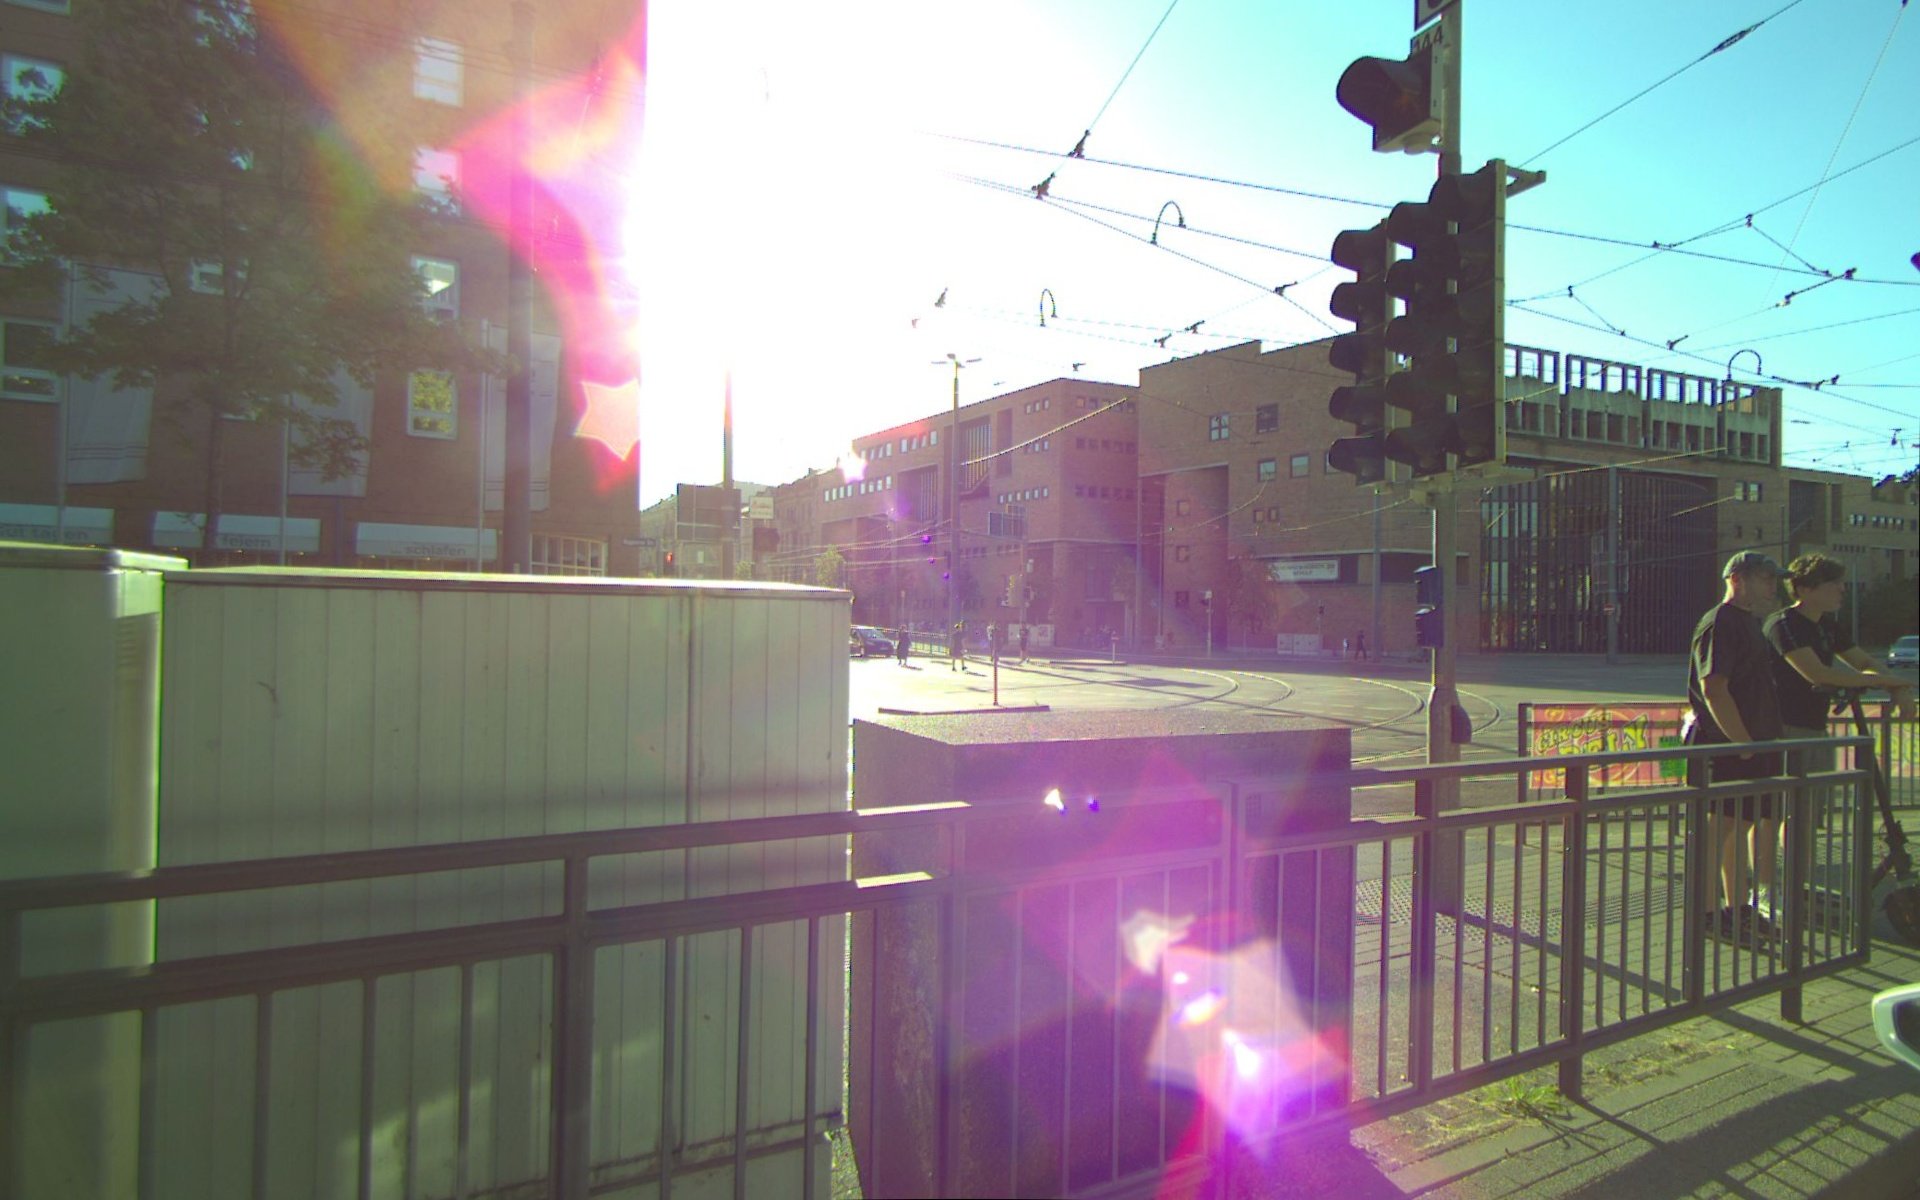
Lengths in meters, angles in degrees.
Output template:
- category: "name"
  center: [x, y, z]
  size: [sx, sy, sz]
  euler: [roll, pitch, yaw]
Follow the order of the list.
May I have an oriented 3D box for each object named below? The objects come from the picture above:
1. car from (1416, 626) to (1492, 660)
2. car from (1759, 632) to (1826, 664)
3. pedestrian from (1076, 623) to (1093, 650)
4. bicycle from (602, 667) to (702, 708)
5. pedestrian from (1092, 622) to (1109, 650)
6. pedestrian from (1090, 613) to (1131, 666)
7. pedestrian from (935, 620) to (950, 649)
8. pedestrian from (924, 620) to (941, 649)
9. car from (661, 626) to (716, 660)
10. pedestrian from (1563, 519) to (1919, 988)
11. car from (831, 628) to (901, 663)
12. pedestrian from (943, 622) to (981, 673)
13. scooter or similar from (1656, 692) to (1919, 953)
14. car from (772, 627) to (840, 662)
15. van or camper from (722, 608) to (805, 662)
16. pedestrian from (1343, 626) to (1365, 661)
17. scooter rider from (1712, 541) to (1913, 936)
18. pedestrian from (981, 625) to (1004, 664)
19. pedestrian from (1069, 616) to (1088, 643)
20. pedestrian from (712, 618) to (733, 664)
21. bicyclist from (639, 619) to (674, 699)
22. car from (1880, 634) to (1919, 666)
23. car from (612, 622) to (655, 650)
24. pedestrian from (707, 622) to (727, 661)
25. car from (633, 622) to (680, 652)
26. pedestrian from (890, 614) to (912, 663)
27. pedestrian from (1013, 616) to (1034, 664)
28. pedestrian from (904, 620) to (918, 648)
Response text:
- category: "car"
  center: [30.518, 2.644, 62.055]
  size: [4.130, 2.040, 1.990]
  euler: [1, -2, -21]
- category: "car"
  center: [54.449, 3.115, 65.687]
  size: [4.415, 2.040, 1.869]
  euler: [1, -2, -28]
- category: "pedestrian"
  center: [9.677, 2.805, 77.886]
  size: [0.841, 2.079, 1.001]
  euler: [1, -2, -32]
- category: "bicycle"
  center: [-6.499, 1.835, 21.271]
  size: [1.951, 0.781, 0.585]
  euler: [2, -2, -39]
- category: "pedestrian"
  center: [10.640, 2.734, 76.120]
  size: [0.841, 2.079, 1.001]
  euler: [1, -2, -32]
- category: "pedestrian"
  center: [5.971, 1.545, 39.849]
  size: [1.193, 2.040, 1.028]
  euler: [2, 0, -30]
- category: "pedestrian"
  center: [-1.243, 2.421, 70.716]
  size: [0.742, 2.010, 0.780]
  euler: [1, -1, -32]
- category: "pedestrian"
  center: [-1.934, 2.394, 70.232]
  size: [0.917, 2.010, 0.780]
  euler: [1, -1, -32]
- category: "car"
  center: [-14.708, 2.280, 54.359]
  size: [1.739, 1.750, 3.964]
  euler: [1, -2, -33]
- category: "pedestrian"
  center: [3.718, 0.644, 4.805]
  size: [0.843, 1.908, 1.164]
  euler: [1, -2, -25]
- category: "car"
  center: [-4.879, 2.331, 51.761]
  size: [1.978, 1.709, 3.965]
  euler: [2, -2, -33]
- category: "pedestrian"
  center: [0.068, 1.742, 37.043]
  size: [0.942, 1.822, 0.990]
  euler: [2, 0, 36]
- category: "scooter or similar"
  center: [4.395, 1.063, 5.161]
  size: [0.639, 1.095, 1.199]
  euler: [1, -2, -25]
- category: "car"
  center: [-7.869, 2.224, 51.137]
  size: [1.978, 1.709, 3.965]
  euler: [2, -2, -33]
- category: "van or camper"
  center: [-9.431, 1.637, 47.984]
  size: [1.981, 2.451, 4.980]
  euler: [2, -2, -36]
- category: "pedestrian"
  center: [22.065, 2.455, 56.234]
  size: [0.866, 1.927, 0.718]
  euler: [2, 0, -33]
- category: "scooter rider"
  center: [4.395, 0.676, 5.189]
  size: [0.670, 1.877, 0.564]
  euler: [3, -2, -25]
- category: "pedestrian"
  center: [1.499, 2.068, 46.441]
  size: [0.857, 1.775, 0.672]
  euler: [1, -2, -30]
- category: "pedestrian"
  center: [9.089, 2.233, 76.801]
  size: [0.902, 2.040, 1.151]
  euler: [1, -2, -34]
- category: "pedestrian"
  center: [-10.682, 1.831, 45.248]
  size: [0.597, 2.040, 0.848]
  euler: [2, -2, -38]
- category: "bicyclist"
  center: [-6.446, 1.241, 21.329]
  size: [0.510, 1.647, 0.582]
  euler: [2, -2, -39]
- category: "car"
  center: [48.859, 2.549, 51.609]
  size: [3.962, 1.598, 1.610]
  euler: [2, -2, -36]
- category: "car"
  center: [-21.103, 2.285, 64.808]
  size: [1.738, 1.750, 3.965]
  euler: [1, -2, -32]
- category: "pedestrian"
  center: [-11.503, 1.949, 47.534]
  size: [0.597, 1.843, 0.848]
  euler: [2, -2, -38]
- category: "car"
  center: [-18.196, 2.179, 60.128]
  size: [1.738, 1.750, 3.965]
  euler: [1, -2, -32]
- category: "pedestrian"
  center: [-2.487, 1.615, 42.256]
  size: [0.723, 2.040, 0.610]
  euler: [1, -1, -26]
- category: "pedestrian"
  center: [2.727, 1.737, 43.255]
  size: [0.603, 2.040, 0.731]
  euler: [0, -1, 30]
- category: "pedestrian"
  center: [-3.553, 2.442, 72.802]
  size: [0.644, 2.040, 0.780]
  euler: [1, -1, -32]
